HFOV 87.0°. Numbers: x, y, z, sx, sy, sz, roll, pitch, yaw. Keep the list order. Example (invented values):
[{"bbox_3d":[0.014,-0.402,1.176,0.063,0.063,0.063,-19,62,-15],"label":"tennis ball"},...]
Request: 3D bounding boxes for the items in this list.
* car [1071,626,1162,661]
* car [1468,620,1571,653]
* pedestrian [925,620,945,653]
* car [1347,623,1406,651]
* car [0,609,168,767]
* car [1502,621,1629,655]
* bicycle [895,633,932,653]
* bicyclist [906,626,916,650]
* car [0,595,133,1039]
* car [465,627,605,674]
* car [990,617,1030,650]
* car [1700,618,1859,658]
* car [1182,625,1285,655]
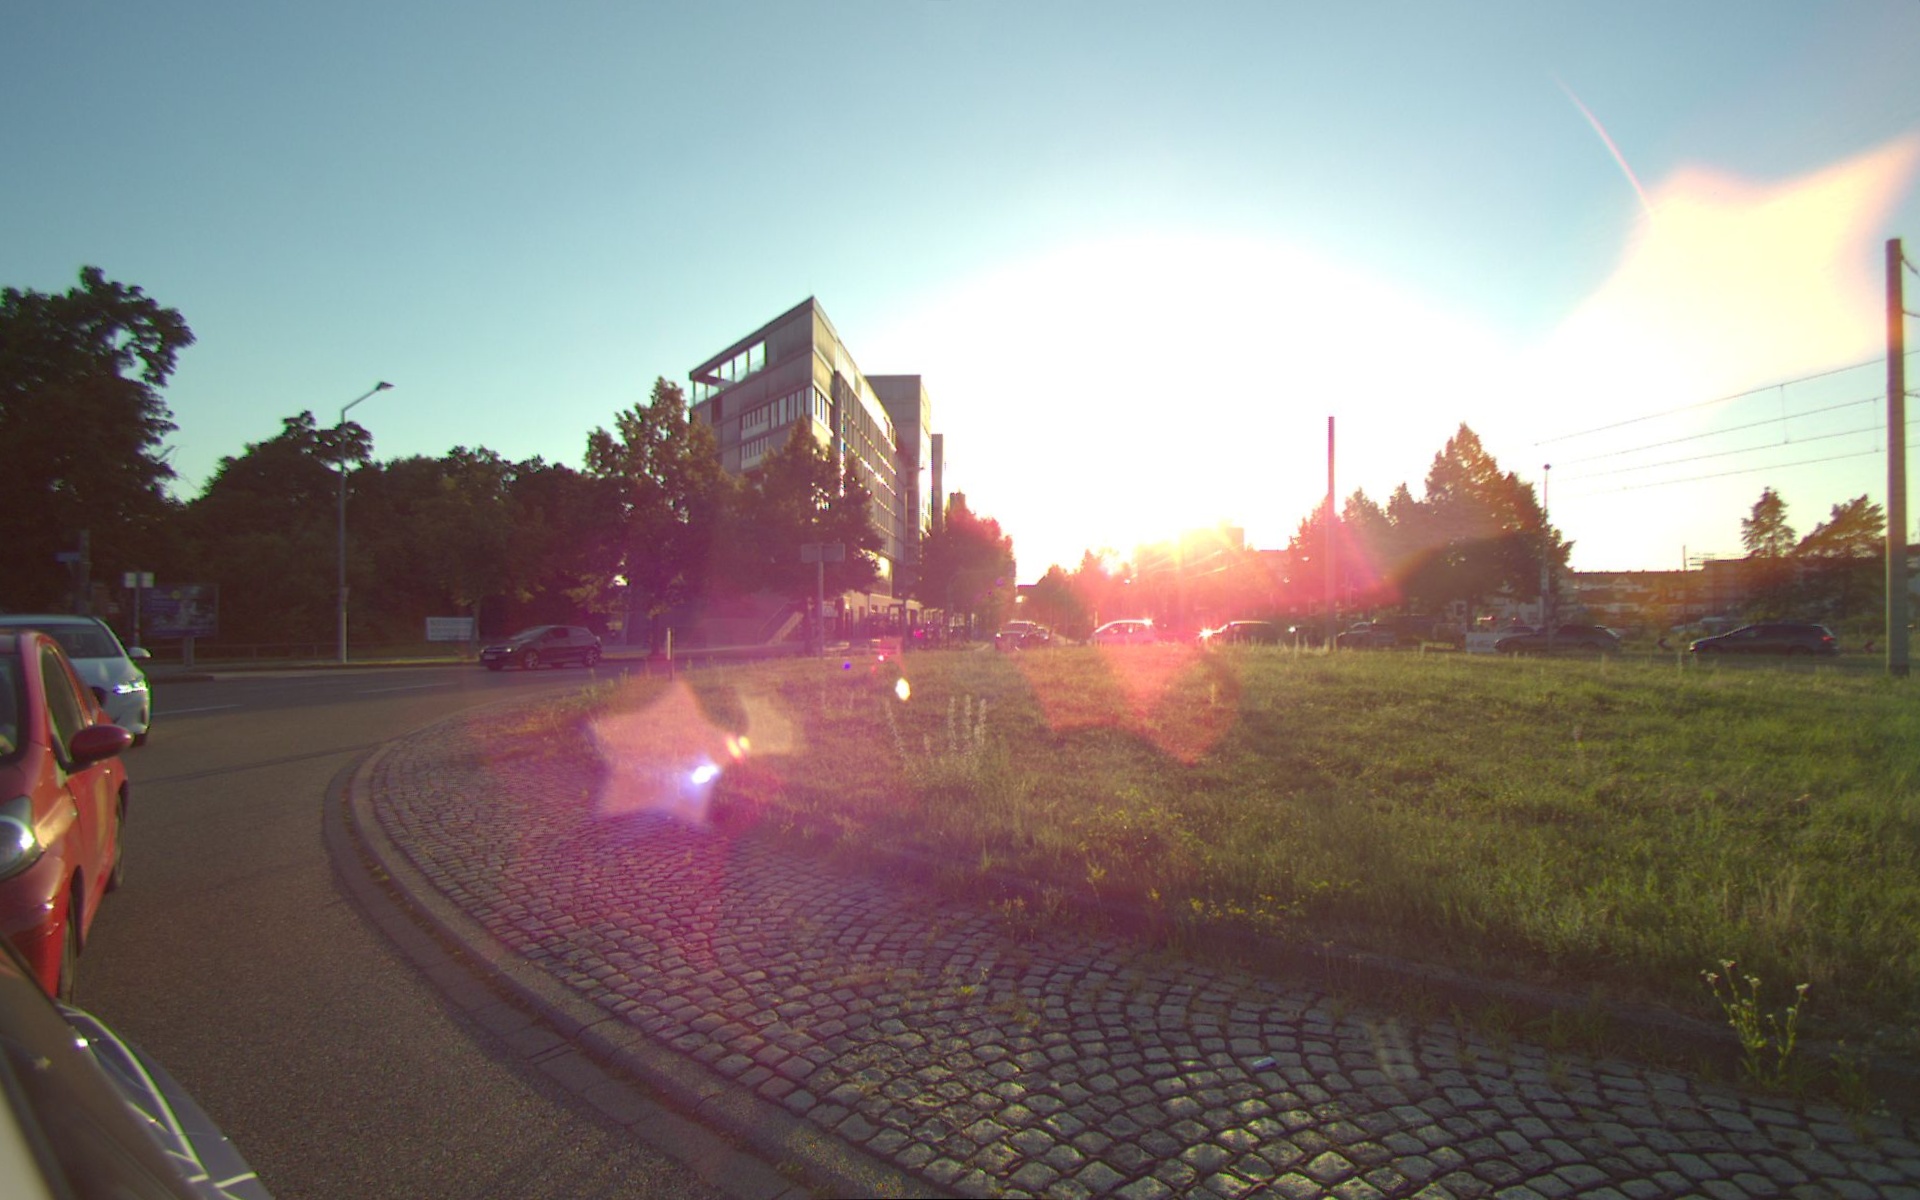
[{"bbox_3d":[7.339,2.042,47.708,3.831,1.592,1.958,0,-1,-7],"label":"car"},{"bbox_3d":[30.275,1.958,54.940,1.965,1.719,4.731,0,-1,-20],"label":"car"},{"bbox_3d":[-1.609,2.321,64.466,0.995,2.029,0.768,-1,0,29],"label":"pedestrian"},{"bbox_3d":[25.889,2.296,63.089,1.972,1.685,4.000,0,-1,0],"label":"car"},{"bbox_3d":[-11.132,0.944,12.124,4.198,1.618,1.972,-1,-2,43],"label":"car"},{"bbox_3d":[25.725,1.596,43.100,4.351,1.386,1.972,-1,-2,42],"label":"car"},{"bbox_3d":[-2.894,2.679,62.961,2.315,1.254,0.742,0,-1,0],"label":"bicycle"},{"bbox_3d":[-3.075,2.355,62.983,0.602,1.451,0.692,0,-1,-2],"label":"bicyclist"},{"bbox_3d":[-4.823,0.732,4.476,1.662,1.431,4.008,1,-2,-37],"label":"car"},{"bbox_3d":[-13.576,1.581,32.583,1.740,1.389,4.093,-1,-1,23],"label":"car"},{"bbox_3d":[2.980,2.006,59.657,1.976,1.827,5.294,-2,-2,6],"label":"car"},{"bbox_3d":[30.628,1.385,37.915,1.969,1.386,4.389,1,-2,-42],"label":"car"},{"bbox_3d":[12.931,1.894,48.062,4.326,1.386,1.998,0,-1,3],"label":"car"}]
